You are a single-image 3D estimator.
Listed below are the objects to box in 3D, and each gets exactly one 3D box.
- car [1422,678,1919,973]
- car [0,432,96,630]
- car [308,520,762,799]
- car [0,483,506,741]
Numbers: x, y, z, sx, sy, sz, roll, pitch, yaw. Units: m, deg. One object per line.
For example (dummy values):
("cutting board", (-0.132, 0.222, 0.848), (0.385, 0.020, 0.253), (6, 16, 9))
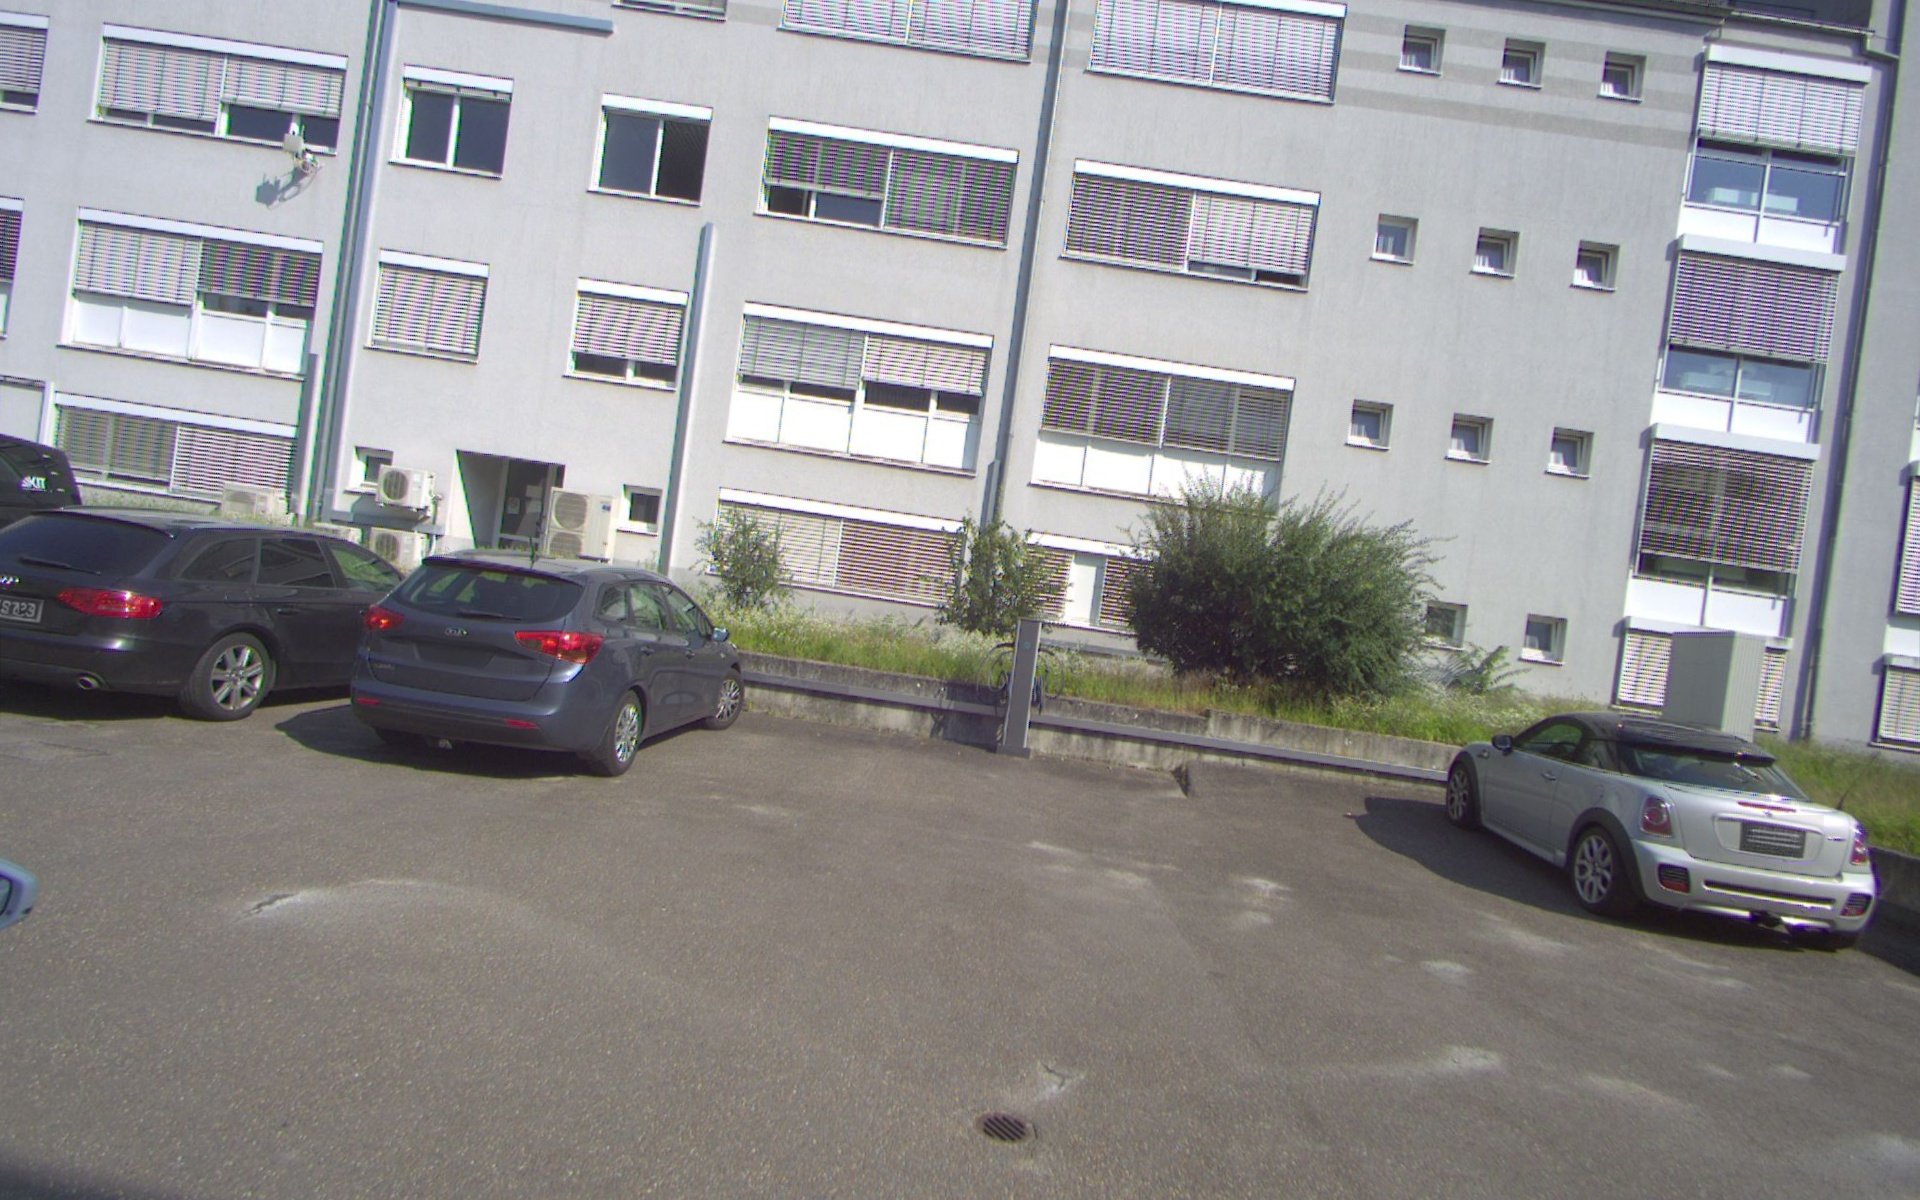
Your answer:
("car", (5.434, 1.594, 8.309), (1.628, 1.455, 3.583), (8, 0, 5))
("car", (-9.990, -0.784, 8.294), (1.880, 1.881, 4.347), (8, 0, -2))
("car", (-3.060, 0.395, 8.304), (1.710, 1.496, 4.061), (8, 0, 3))
("car", (-5.802, 0.066, 8.356), (1.659, 1.455, 4.248), (8, 0, 6))
